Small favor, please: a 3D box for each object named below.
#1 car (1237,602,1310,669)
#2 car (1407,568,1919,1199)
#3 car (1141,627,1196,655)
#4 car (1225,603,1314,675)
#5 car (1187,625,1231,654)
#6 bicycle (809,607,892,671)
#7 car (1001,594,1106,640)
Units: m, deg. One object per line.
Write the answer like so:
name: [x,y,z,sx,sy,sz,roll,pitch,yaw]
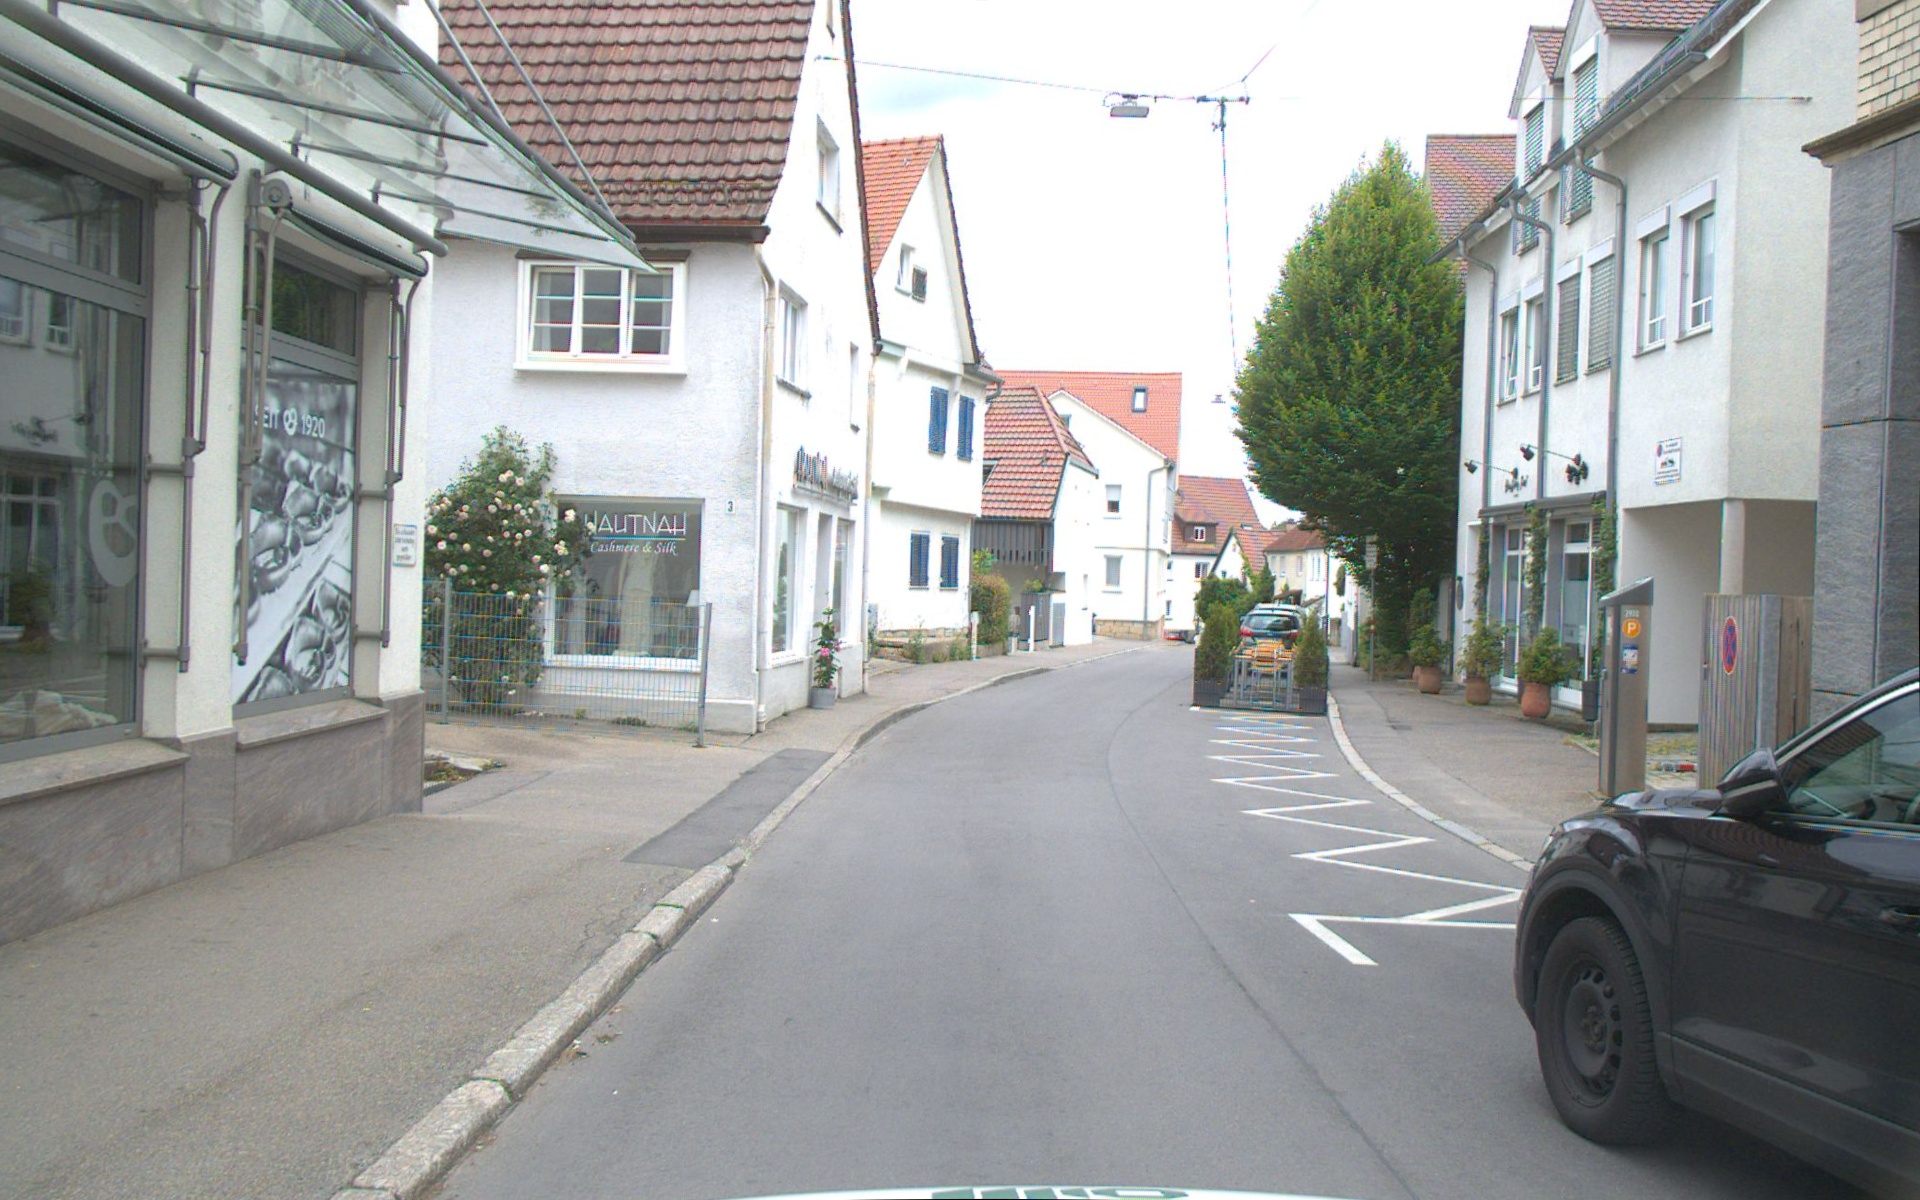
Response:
car: [8.618,0.945,45.493,1.823,1.662,4.905,2,0,11]
car: [2.880,0.781,3.911,1.755,1.628,4.532,2,0,-9]
car: [14.503,2.873,115.245,1.967,1.713,3.971,-3,-2,-23]
car: [7.473,0.887,39.617,1.906,1.534,4.824,2,0,12]
car: [16.471,2.606,109.611,1.925,1.743,3.995,2,0,-6]
bicycle: [-1.948,0.681,29.713,0.434,1.056,2.091,6,3,25]
car: [3.695,0.683,65.053,3.653,1.436,2.121,5,-1,16]
